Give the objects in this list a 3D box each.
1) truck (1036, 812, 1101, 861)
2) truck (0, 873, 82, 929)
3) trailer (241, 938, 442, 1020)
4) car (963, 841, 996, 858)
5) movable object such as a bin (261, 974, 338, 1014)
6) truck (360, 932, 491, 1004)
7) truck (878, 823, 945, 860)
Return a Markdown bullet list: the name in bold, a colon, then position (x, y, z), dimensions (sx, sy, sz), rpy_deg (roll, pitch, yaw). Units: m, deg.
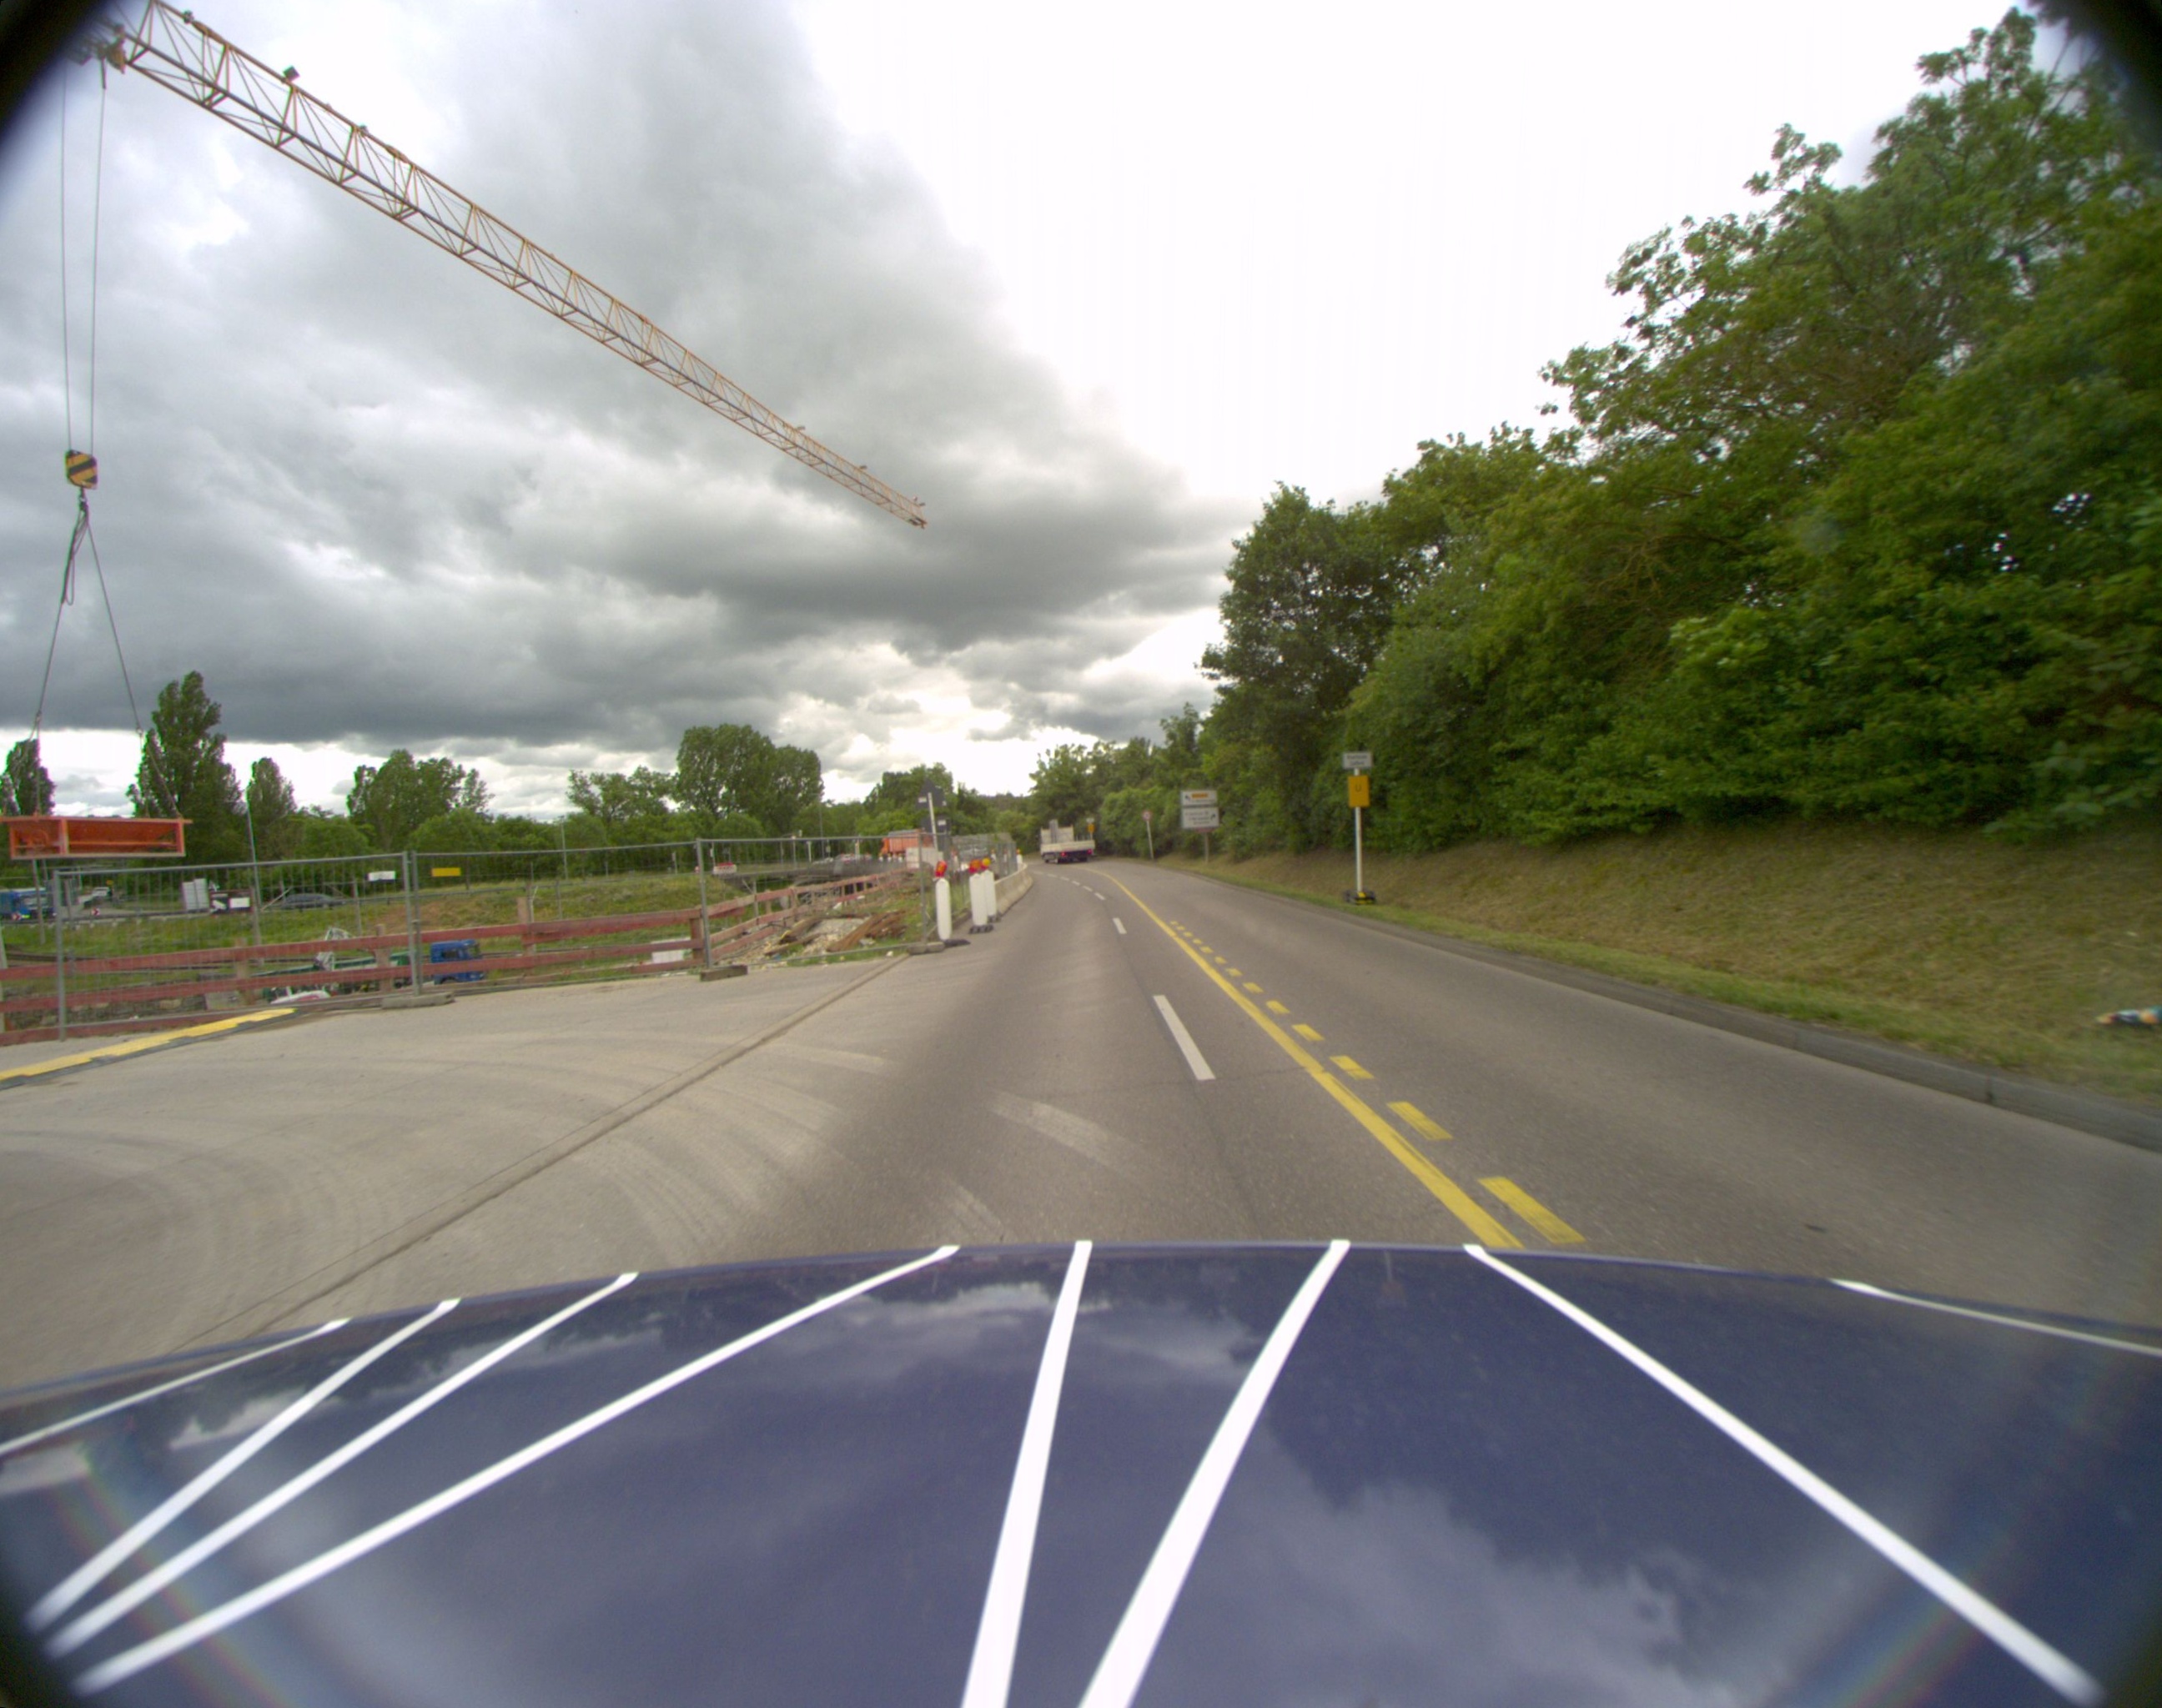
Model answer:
- **truck**: position (-1.084, -1.293, 57.332), dimensions (2.761, 3.240, 7.598), rpy_deg (-5, 2, -17)
- **truck**: position (-103.427, 4.577, 74.848), dimensions (8.143, 3.100, 2.944), rpy_deg (15, 7, 13)
- **trailer**: position (-49.635, 8.291, 51.390), dimensions (9.148, 3.742, 2.414), rpy_deg (-6, 3, -22)
- **car**: position (-10.560, -0.416, 78.708), dimensions (1.897, 1.554, 4.091), rpy_deg (-6, 2, -29)
- **movable object such as a bin**: position (-47.952, 8.590, 46.700), dimensions (1.999, 1.818, 2.443), rpy_deg (-4, 2, -1)
- **truck**: position (-45.572, 7.857, 53.040), dimensions (6.136, 3.742, 2.414), rpy_deg (-6, 3, -22)
- **truck**: position (-20.357, -1.402, 90.841), dimensions (3.046, 3.876, 9.976), rpy_deg (-6, 3, -42)
